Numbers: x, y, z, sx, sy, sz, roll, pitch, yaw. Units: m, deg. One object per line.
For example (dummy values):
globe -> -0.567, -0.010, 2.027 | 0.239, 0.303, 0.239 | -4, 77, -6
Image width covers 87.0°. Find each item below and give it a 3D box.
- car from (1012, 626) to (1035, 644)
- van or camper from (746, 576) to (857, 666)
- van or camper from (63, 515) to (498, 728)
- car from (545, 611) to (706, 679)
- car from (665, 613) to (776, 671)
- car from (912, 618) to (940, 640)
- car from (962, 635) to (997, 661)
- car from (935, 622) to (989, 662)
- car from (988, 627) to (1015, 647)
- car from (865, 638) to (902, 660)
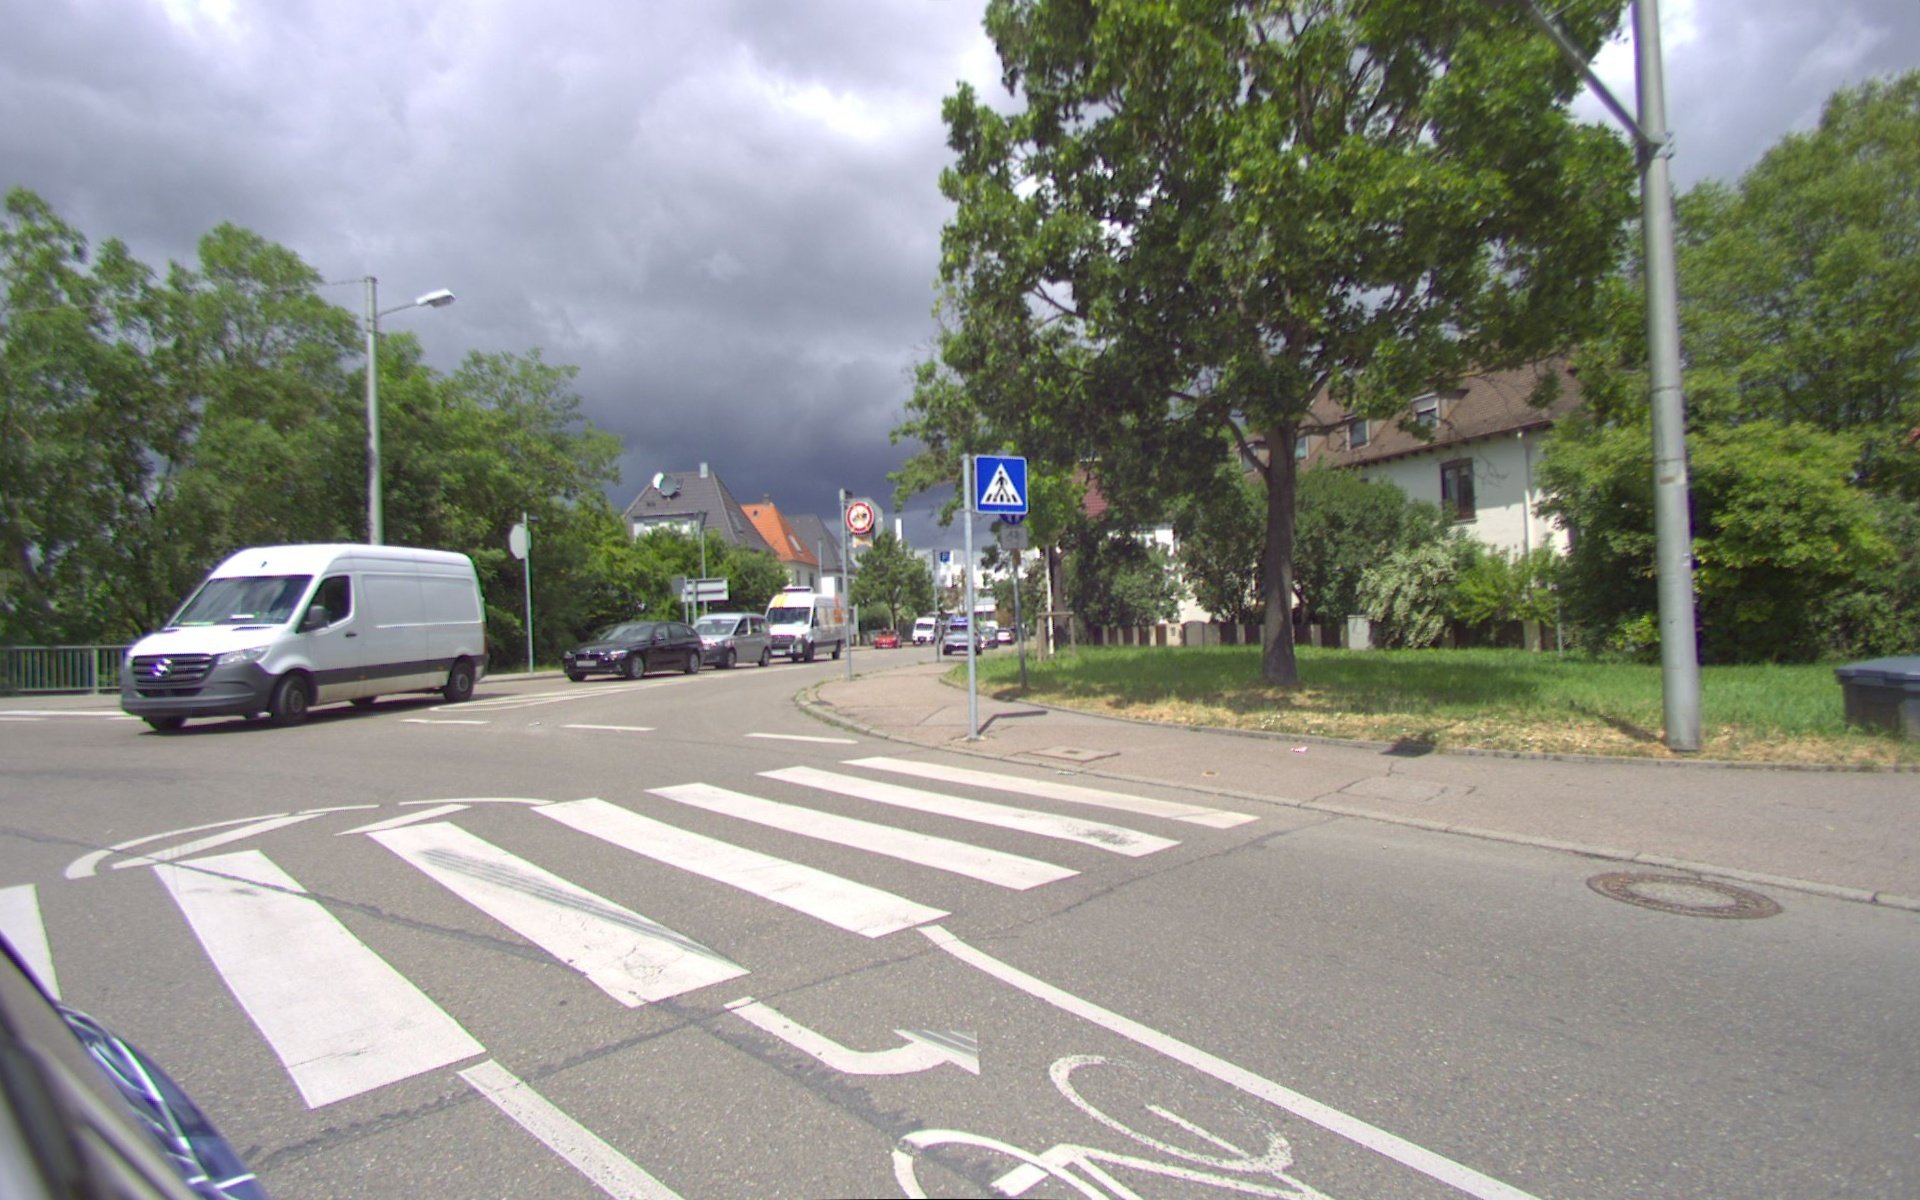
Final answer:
car -> 6.219, 3.433, 98.896 | 1.976, 1.600, 4.392 | -2, -1, 7
van or camper -> -6.021, 1.012, 39.808 | 2.243, 3.018, 8.311 | -3, -4, 5
van or camper -> -9.728, 0.373, 15.400 | 2.167, 2.586, 5.915 | -1, -2, 7
car -> -8.243, 1.109, 25.360 | 1.979, 1.485, 4.213 | -2, -2, 12
car -> -7.398, 1.307, 31.695 | 1.976, 1.600, 4.391 | -2, -2, 7
car -> -3.205, 2.807, 97.120 | 1.976, 1.943, 4.391 | -2, -2, 7
car -> 1.408, 3.311, 70.375 | 1.976, 1.600, 4.392 | -2, -1, 7
car -> 0.142, 2.120, 51.718 | 2.206, 1.821, 4.392 | -2, -1, 7
car -> 3.716, 3.262, 88.990 | 1.976, 1.600, 4.392 | -2, -1, 7
car -> -5.840, 3.745, 77.716 | 1.976, 1.600, 4.391 | -2, -2, 7
